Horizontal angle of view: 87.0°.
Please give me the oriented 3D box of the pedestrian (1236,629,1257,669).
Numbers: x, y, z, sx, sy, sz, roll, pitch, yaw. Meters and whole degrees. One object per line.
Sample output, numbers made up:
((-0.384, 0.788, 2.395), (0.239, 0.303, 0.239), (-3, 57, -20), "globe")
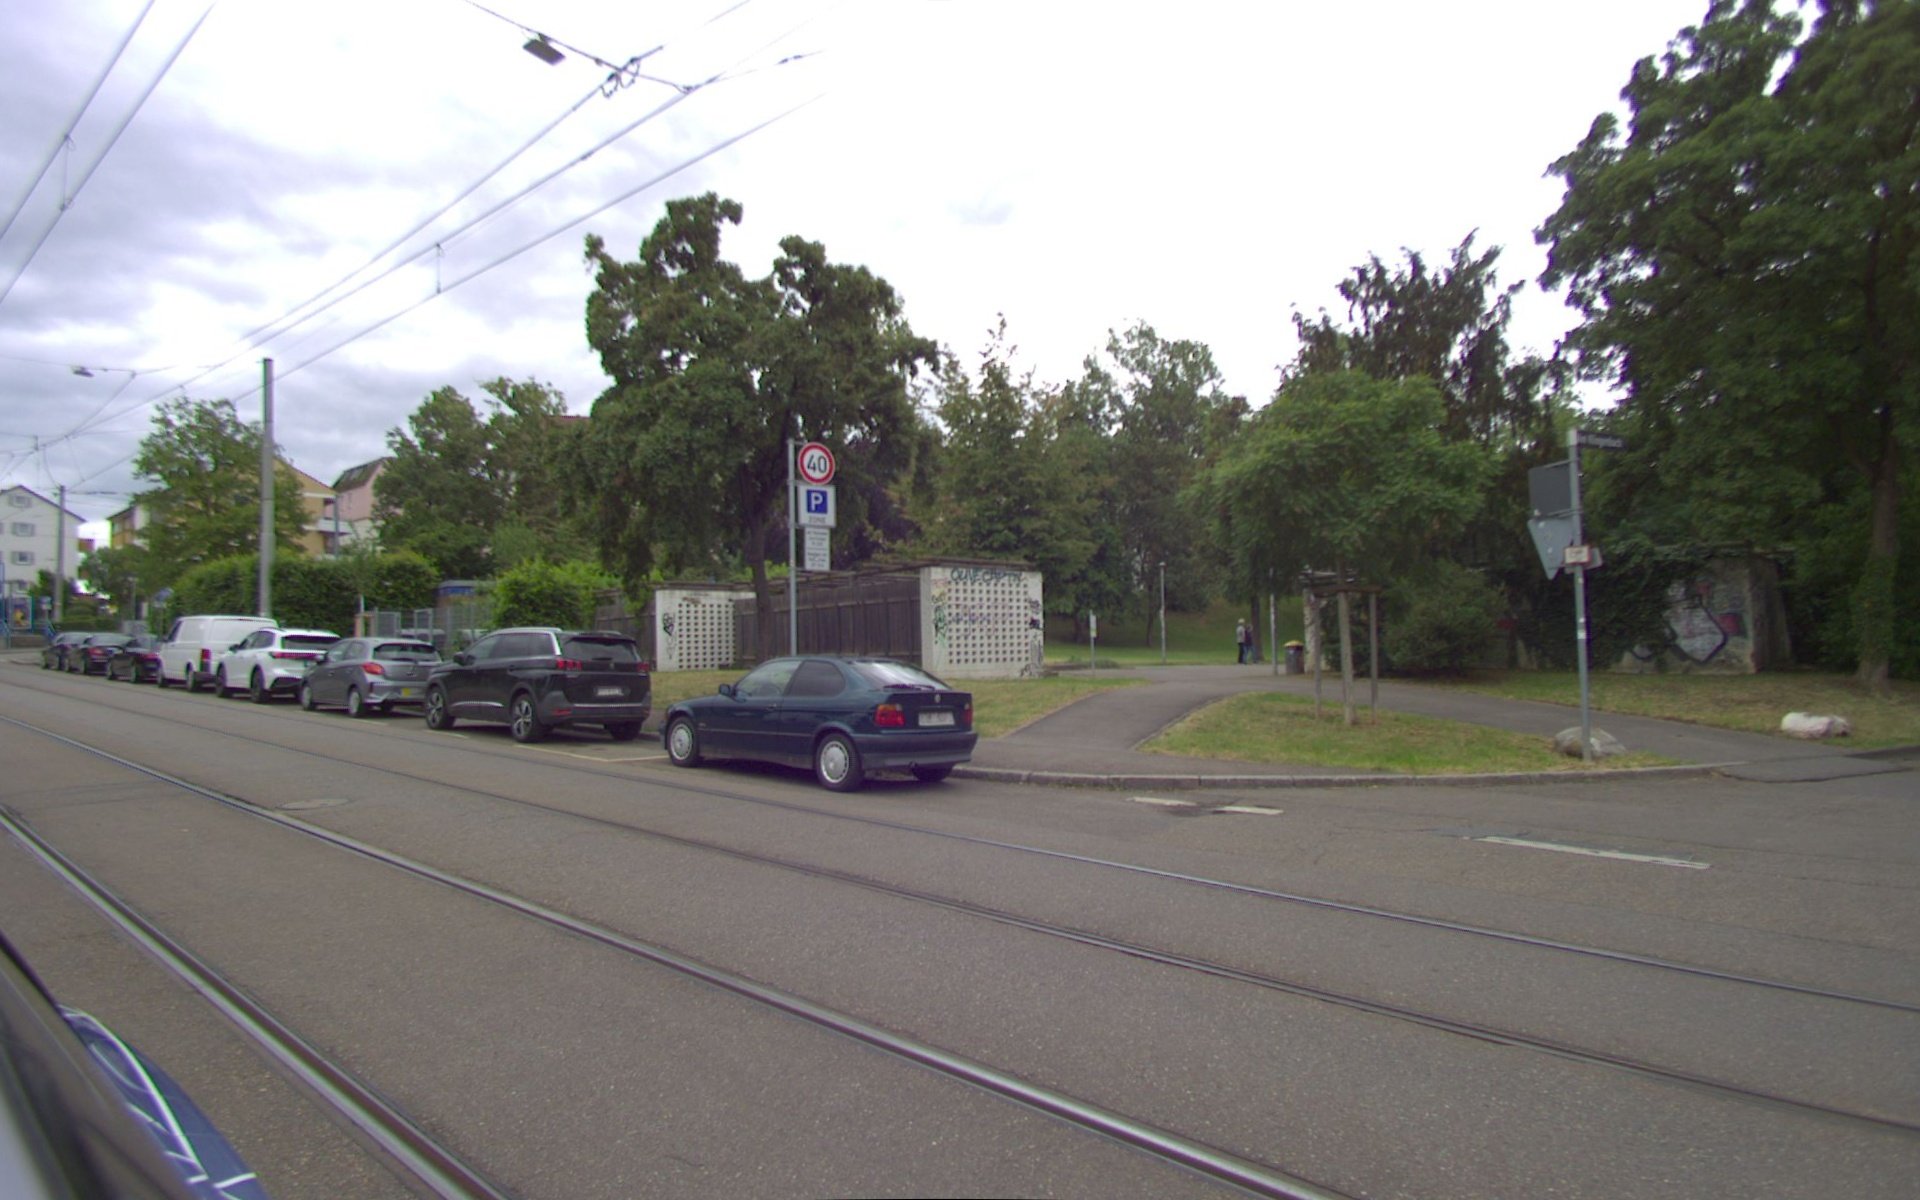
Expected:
((10.875, 1.838, 38.427), (0.585, 1.496, 0.490), (-1, -2, 41), "pedestrian")

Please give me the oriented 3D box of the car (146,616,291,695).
((-19.864, 1.416, 27.039), (4.730, 1.927, 1.949), (0, -2, 39), "car")

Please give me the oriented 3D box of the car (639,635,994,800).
((-1.748, 1.183, 11.524), (4.152, 1.489, 1.605), (0, -2, 39), "car")

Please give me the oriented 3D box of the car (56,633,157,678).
((-29.214, 1.854, 34.592), (4.435, 1.397, 1.822), (0, -2, 39), "car")

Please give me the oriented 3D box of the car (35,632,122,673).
((-33.350, 1.961, 38.267), (4.157, 1.415, 1.772), (0, -2, 39), "car")

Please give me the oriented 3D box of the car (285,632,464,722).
((-11.427, 1.418, 19.681), (3.865, 1.520, 1.721), (0, -2, 39), "car")

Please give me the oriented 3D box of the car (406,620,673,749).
((-6.638, 1.204, 15.784), (4.439, 1.699, 1.949), (0, -2, 39), "car")

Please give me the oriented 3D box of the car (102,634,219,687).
((-24.205, 1.786, 30.590), (4.513, 1.397, 1.822), (0, -2, 39), "car")

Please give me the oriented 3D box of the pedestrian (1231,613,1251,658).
((10.906, 1.364, 39.217), (0.585, 1.738, 0.490), (-1, -2, 41), "pedestrian")

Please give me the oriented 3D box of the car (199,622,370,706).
((-15.552, 1.398, 23.206), (4.628, 1.699, 1.949), (0, -2, 39), "car")
